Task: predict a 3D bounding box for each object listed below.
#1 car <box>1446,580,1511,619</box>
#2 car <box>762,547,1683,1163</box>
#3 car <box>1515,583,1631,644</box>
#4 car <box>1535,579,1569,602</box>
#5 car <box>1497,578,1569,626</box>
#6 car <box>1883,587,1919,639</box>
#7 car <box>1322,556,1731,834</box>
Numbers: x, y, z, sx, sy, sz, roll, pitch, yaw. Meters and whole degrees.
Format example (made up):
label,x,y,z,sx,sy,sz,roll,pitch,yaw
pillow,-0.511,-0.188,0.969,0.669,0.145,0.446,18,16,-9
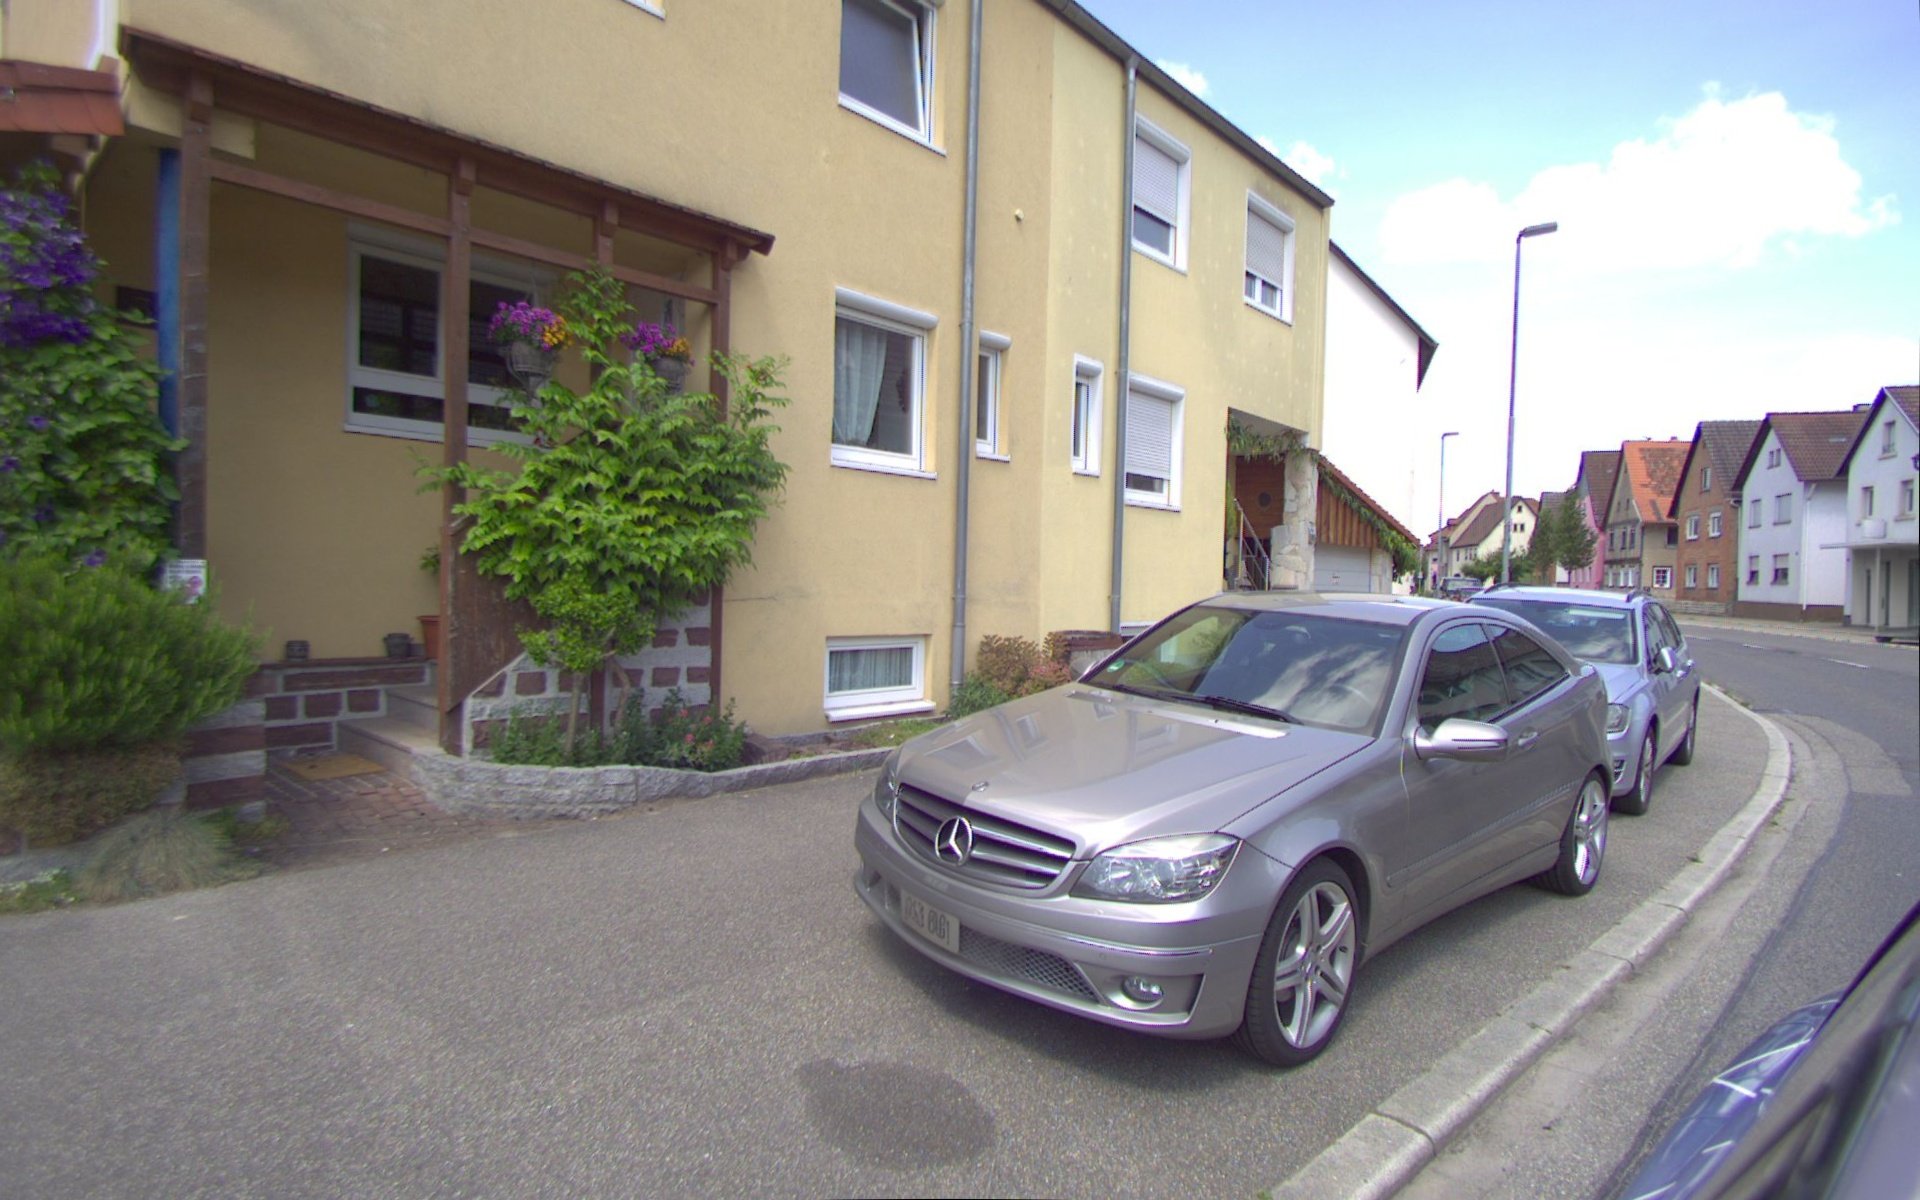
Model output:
label,x,y,z,sx,sy,sz,roll,pitch,yaw
car,23.071,-0.041,45.163,1.641,1.668,3.985,0,1,13
car,1.490,0.530,4.503,4.348,1.416,1.774,-2,5,-41
car,16.900,0.306,28.114,1.704,1.402,3.981,2,3,16
car,43.511,-0.709,74.480,1.665,1.549,3.474,0,2,22
car,20.132,0.101,35.694,1.754,1.549,3.967,1,-1,23
car,27.420,0.361,27.664,1.789,1.438,4.516,0,0,22
car,4.738,0.513,8.141,1.885,1.548,4.269,5,4,42
